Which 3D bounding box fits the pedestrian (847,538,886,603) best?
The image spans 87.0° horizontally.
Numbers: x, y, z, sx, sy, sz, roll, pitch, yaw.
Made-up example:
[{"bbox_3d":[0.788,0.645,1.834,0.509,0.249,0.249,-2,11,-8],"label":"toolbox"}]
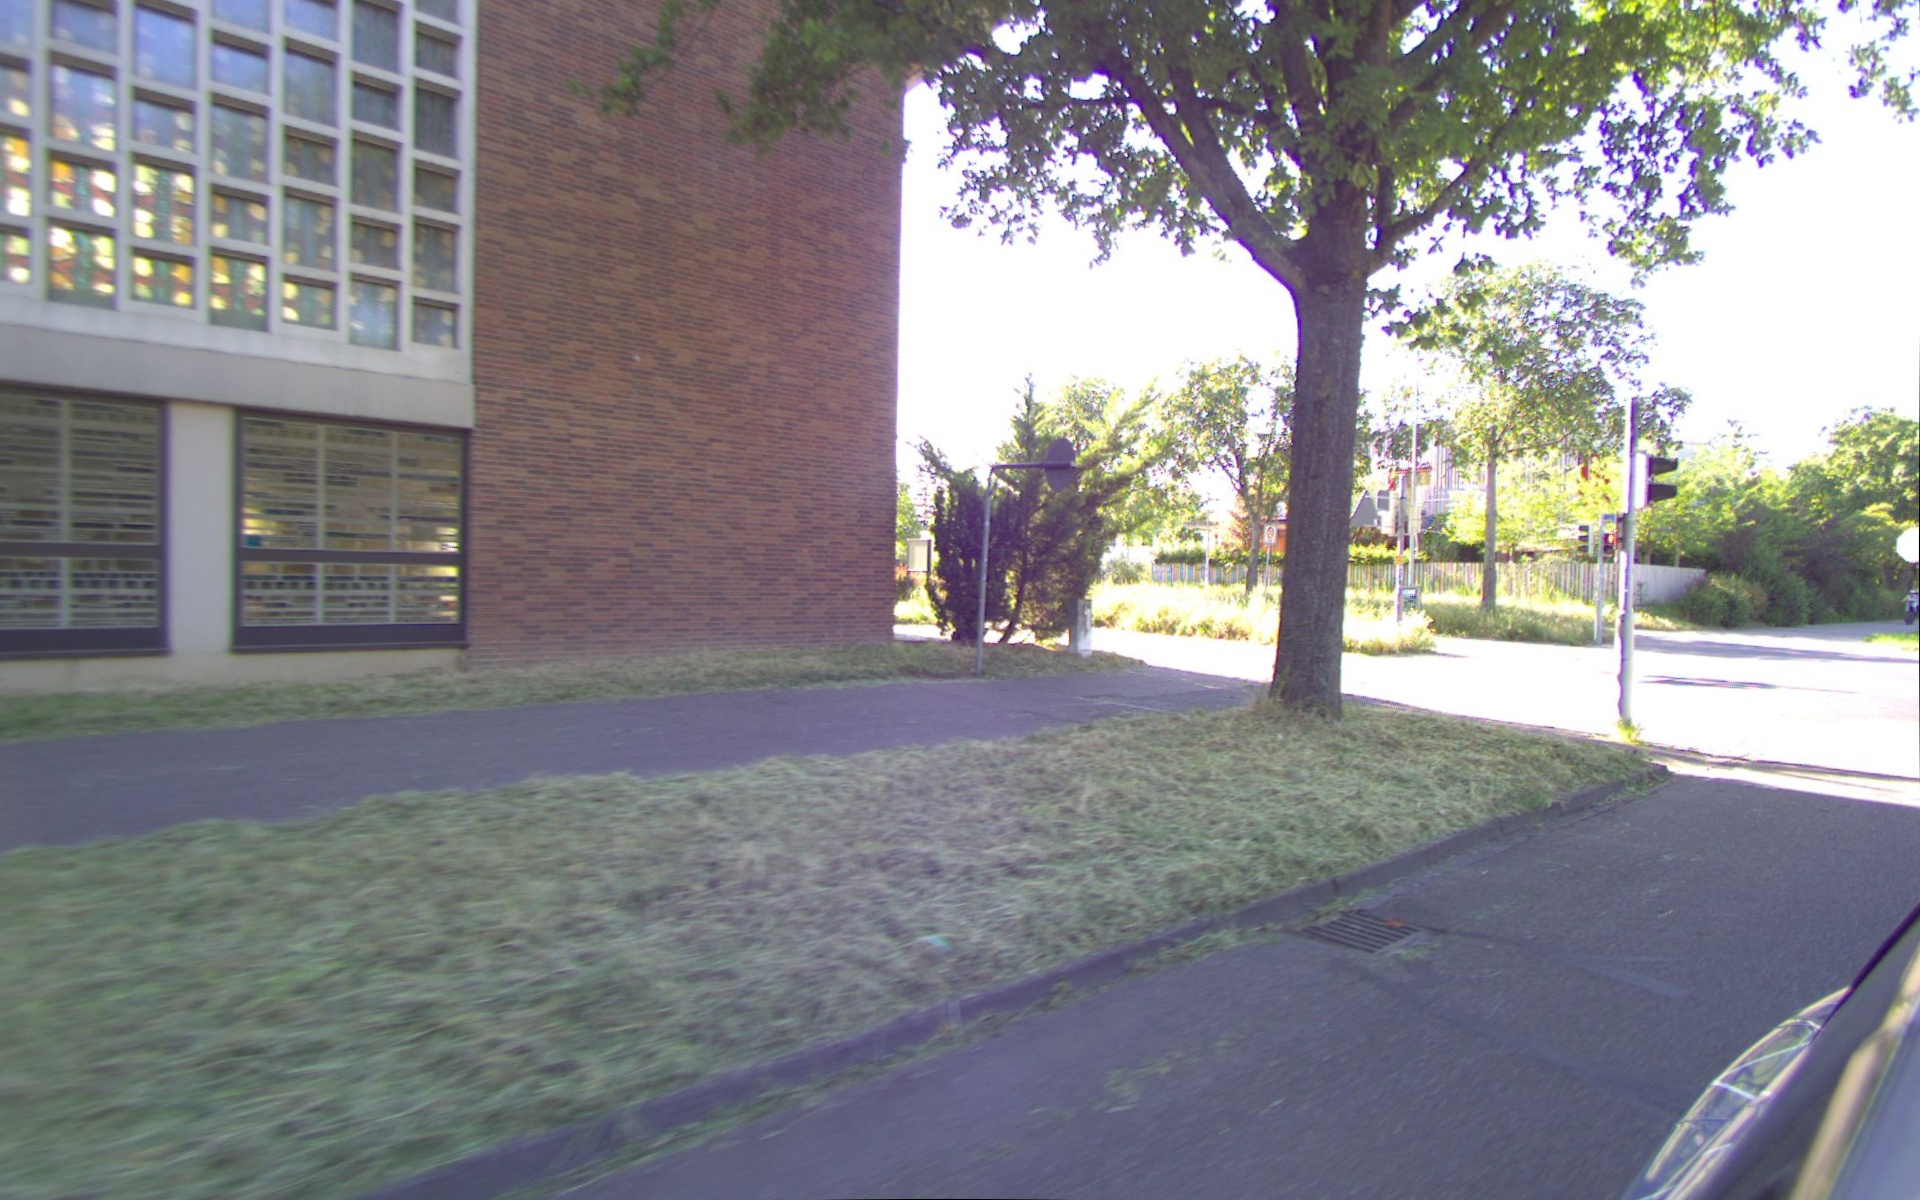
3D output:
[{"bbox_3d":[-2.742,-0.877,29.659,0.886,1.844,0.735,-2,3,-40],"label":"pedestrian"}]
